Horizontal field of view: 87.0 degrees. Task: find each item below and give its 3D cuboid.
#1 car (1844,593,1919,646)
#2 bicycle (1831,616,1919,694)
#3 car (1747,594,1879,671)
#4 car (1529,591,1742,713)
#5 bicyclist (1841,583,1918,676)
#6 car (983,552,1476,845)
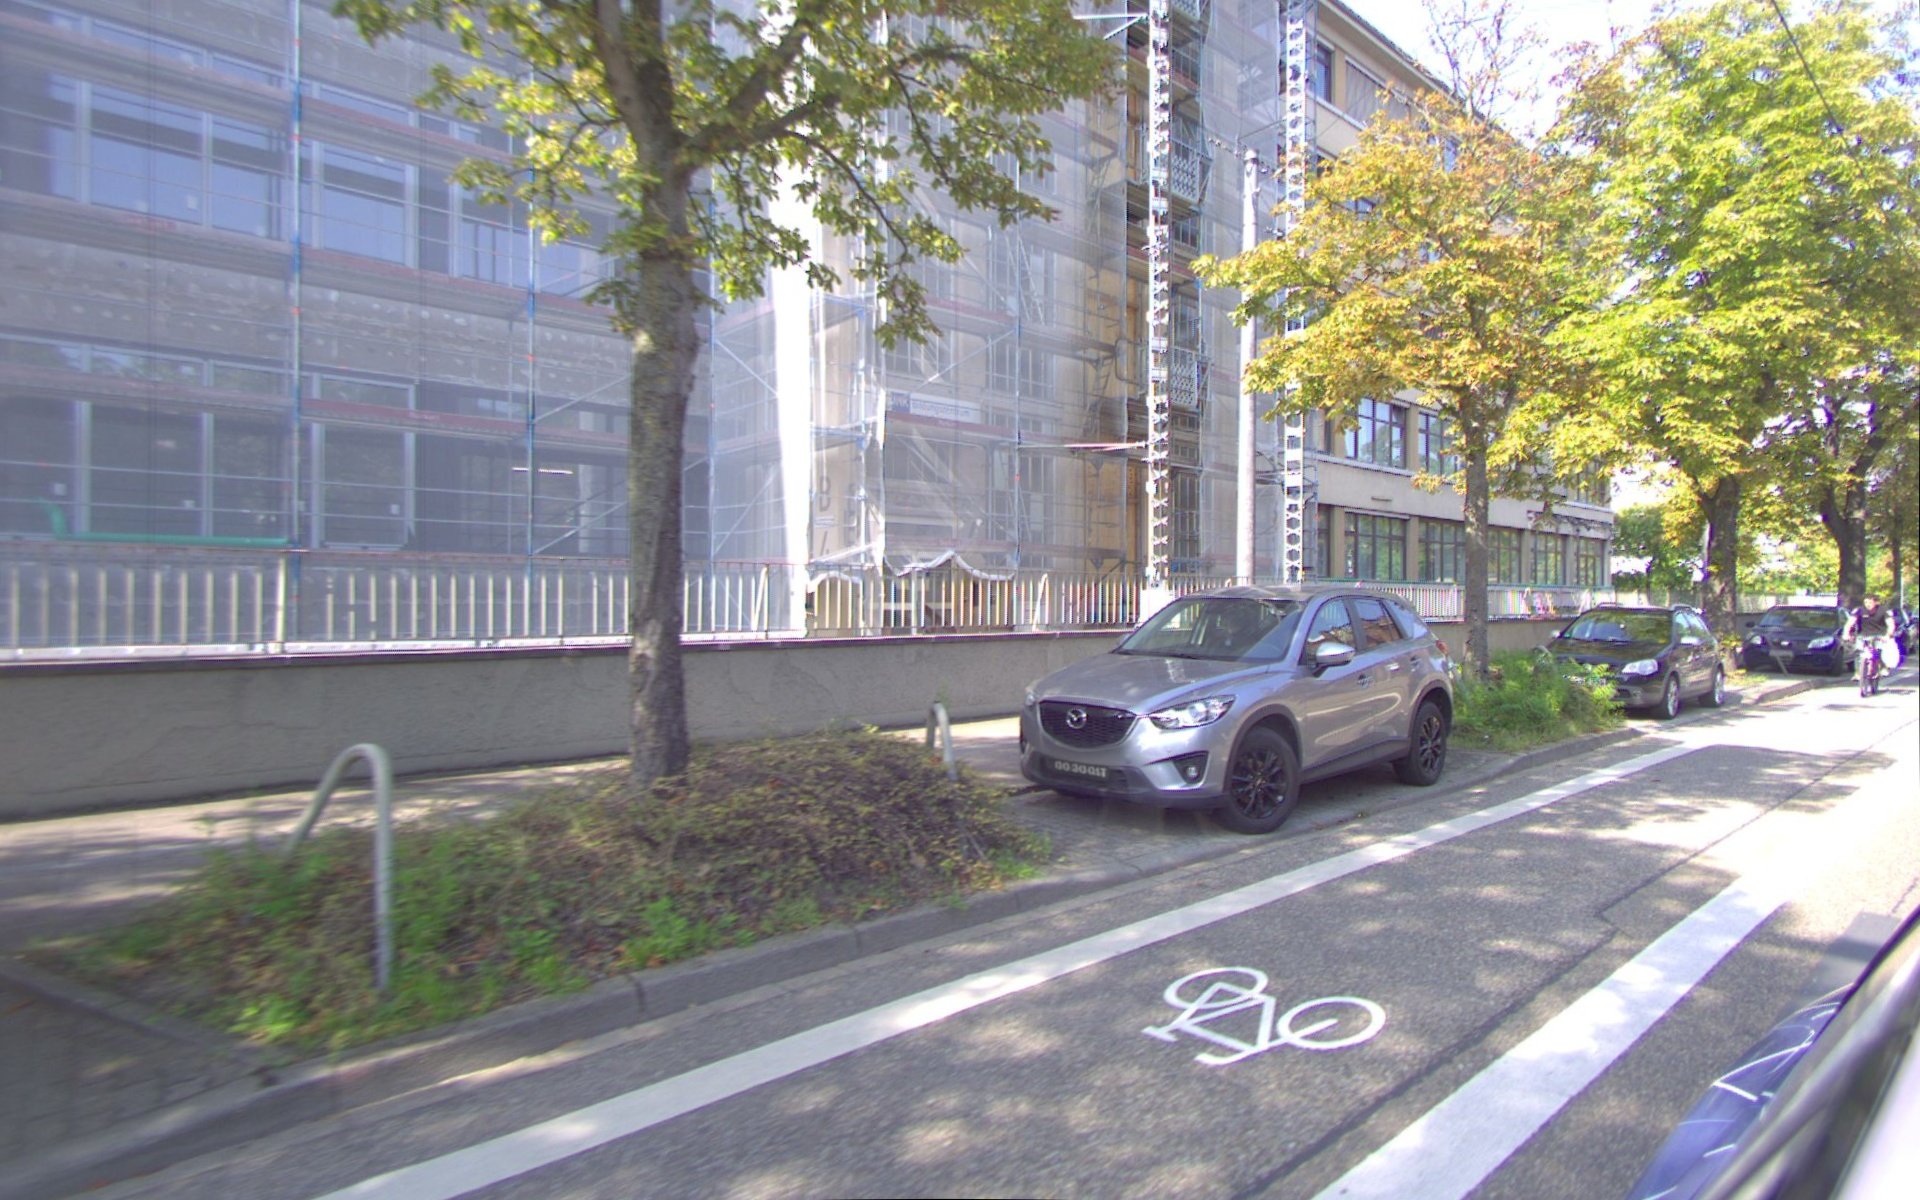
[{"bbox_3d":[28.299,0.550,30.765,4.014,1.446,1.649,0,2,-42],"label":"car"},{"bbox_3d":[15.182,0.864,16.733,2.263,1.159,0.789,0,0,-39],"label":"bicycle"},{"bbox_3d":[19.253,0.666,22.808,3.711,1.529,1.650,0,2,-40],"label":"car"},{"bbox_3d":[9.857,0.651,14.681,3.672,1.503,1.579,0,2,-40],"label":"car"},{"bbox_3d":[15.288,0.470,16.827,1.096,1.488,0.789,0,0,-39],"label":"bicyclist"},{"bbox_3d":[2.336,0.586,8.042,4.321,1.713,1.755,0,-1,-43],"label":"car"}]
